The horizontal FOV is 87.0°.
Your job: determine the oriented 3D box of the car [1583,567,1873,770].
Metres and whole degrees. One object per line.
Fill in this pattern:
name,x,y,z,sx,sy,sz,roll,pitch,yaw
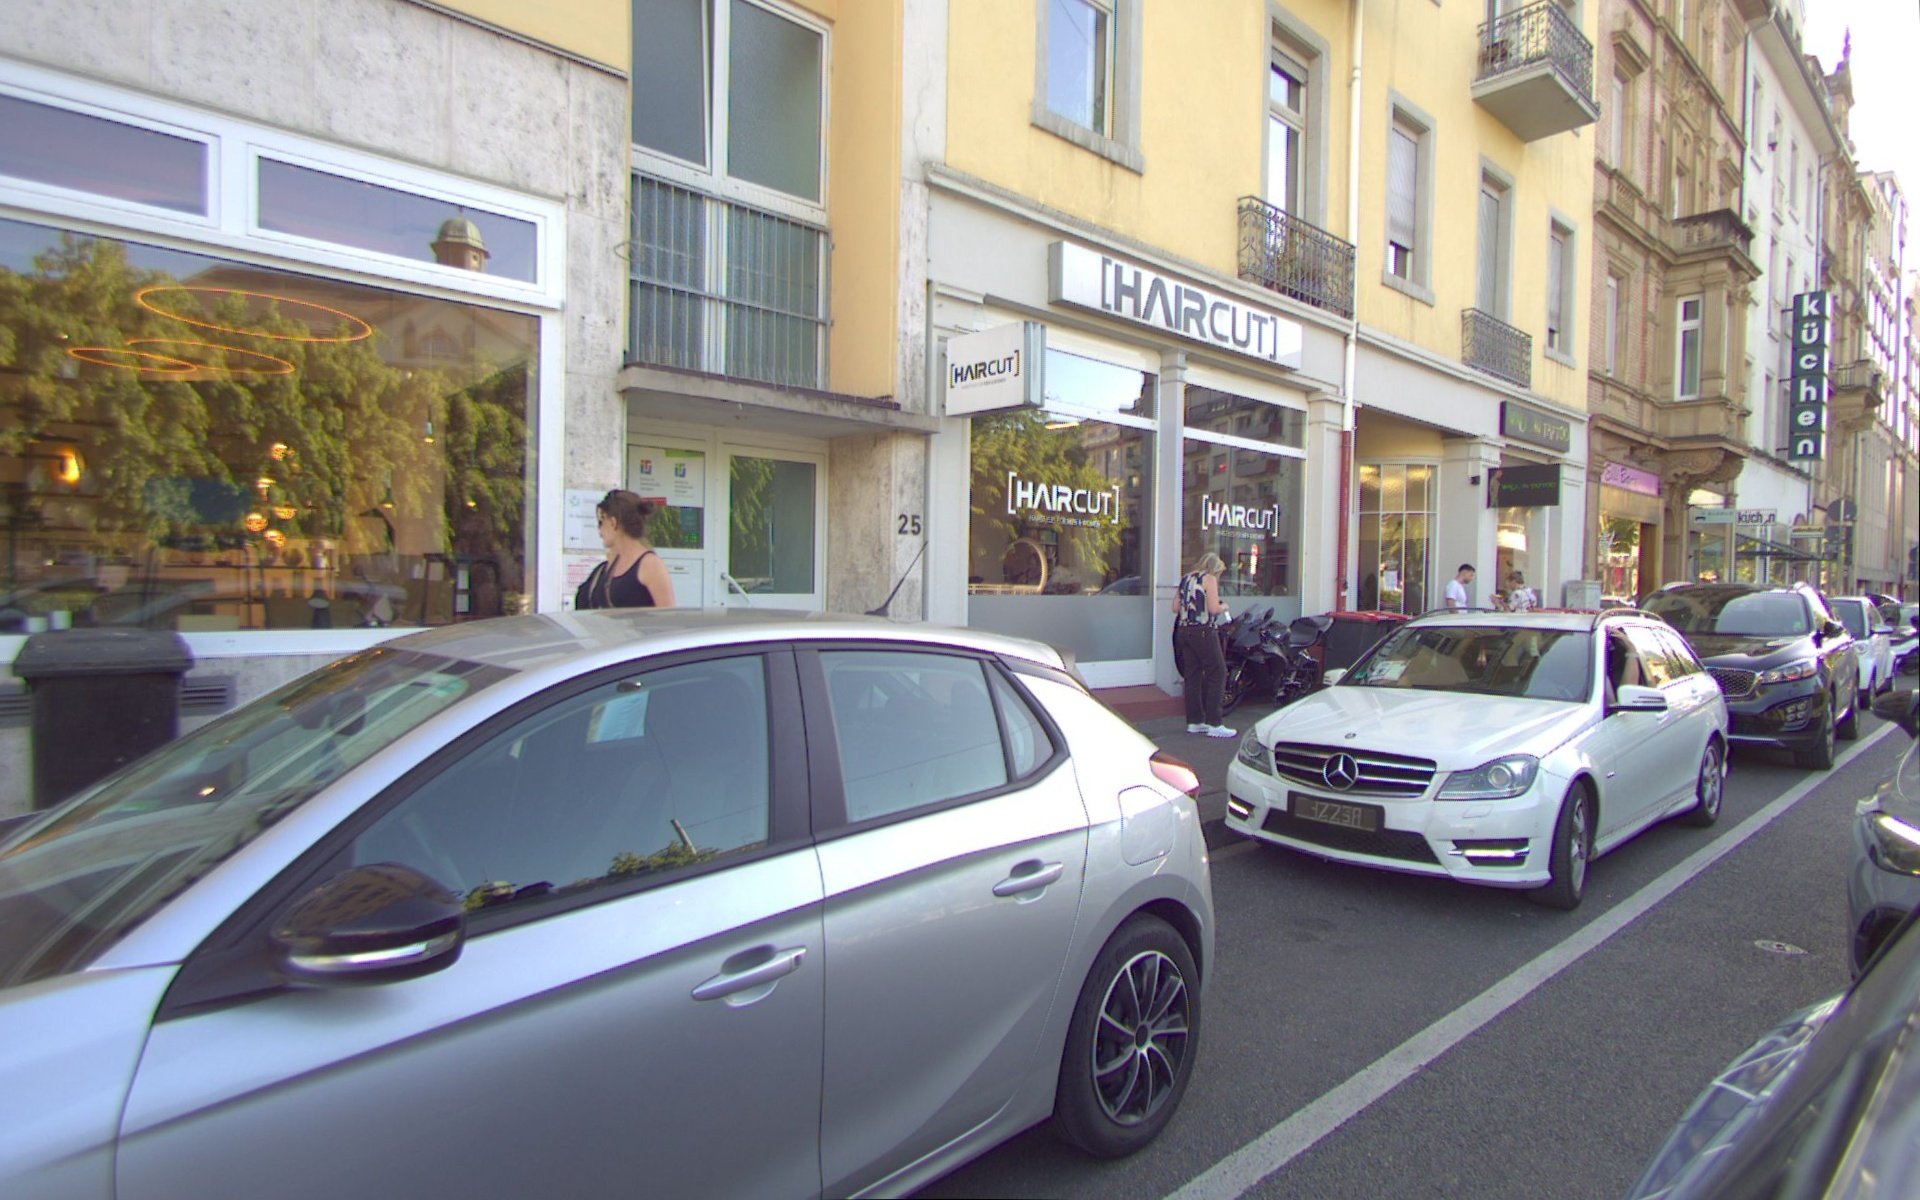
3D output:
car,7.985,0.534,10.367,4.176,1.659,1.799,-1,0,-45

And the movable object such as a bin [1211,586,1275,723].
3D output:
movable object such as a bin,2.684,0.500,9.608,0.387,1.253,0.391,0,3,-41

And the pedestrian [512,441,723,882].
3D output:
pedestrian,-1.468,0.230,4.329,0.636,1.686,0.657,0,0,-43

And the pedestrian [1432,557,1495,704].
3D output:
pedestrian,7.020,0.417,14.108,0.679,2.008,0.375,1,1,-18

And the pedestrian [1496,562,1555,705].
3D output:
pedestrian,7.671,0.438,13.749,0.567,1.874,0.661,0,0,19

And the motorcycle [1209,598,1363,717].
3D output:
motorcycle,3.423,0.547,10.548,1.920,1.091,0.567,-1,4,-41

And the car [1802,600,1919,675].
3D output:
car,18.110,0.666,19.949,4.016,1.282,1.800,-1,1,-42

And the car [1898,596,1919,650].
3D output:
car,26.605,0.595,27.146,3.773,1.357,1.800,-1,1,-42

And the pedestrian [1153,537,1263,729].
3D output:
pedestrian,2.274,0.268,9.317,0.595,1.674,0.719,0,3,-40

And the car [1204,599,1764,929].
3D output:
car,3.540,0.709,6.434,4.302,1.376,1.703,-1,0,-41

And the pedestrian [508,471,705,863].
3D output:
pedestrian,-1.748,0.302,5.047,0.733,1.806,0.565,1,0,18

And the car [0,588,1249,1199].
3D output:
car,-1.008,0.701,2.282,3.597,1.445,1.549,-1,1,-42

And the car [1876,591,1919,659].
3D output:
car,22.231,0.533,23.048,4.016,1.450,1.657,-1,0,-42

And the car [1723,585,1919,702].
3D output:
car,13.107,0.547,15.312,4.016,1.546,1.800,-1,0,-42

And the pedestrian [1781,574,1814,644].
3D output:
pedestrian,22.610,0.230,27.321,0.653,1.874,0.574,0,0,-40

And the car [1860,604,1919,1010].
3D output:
car,5.277,0.709,4.210,3.930,1.376,1.801,-1,1,-41
